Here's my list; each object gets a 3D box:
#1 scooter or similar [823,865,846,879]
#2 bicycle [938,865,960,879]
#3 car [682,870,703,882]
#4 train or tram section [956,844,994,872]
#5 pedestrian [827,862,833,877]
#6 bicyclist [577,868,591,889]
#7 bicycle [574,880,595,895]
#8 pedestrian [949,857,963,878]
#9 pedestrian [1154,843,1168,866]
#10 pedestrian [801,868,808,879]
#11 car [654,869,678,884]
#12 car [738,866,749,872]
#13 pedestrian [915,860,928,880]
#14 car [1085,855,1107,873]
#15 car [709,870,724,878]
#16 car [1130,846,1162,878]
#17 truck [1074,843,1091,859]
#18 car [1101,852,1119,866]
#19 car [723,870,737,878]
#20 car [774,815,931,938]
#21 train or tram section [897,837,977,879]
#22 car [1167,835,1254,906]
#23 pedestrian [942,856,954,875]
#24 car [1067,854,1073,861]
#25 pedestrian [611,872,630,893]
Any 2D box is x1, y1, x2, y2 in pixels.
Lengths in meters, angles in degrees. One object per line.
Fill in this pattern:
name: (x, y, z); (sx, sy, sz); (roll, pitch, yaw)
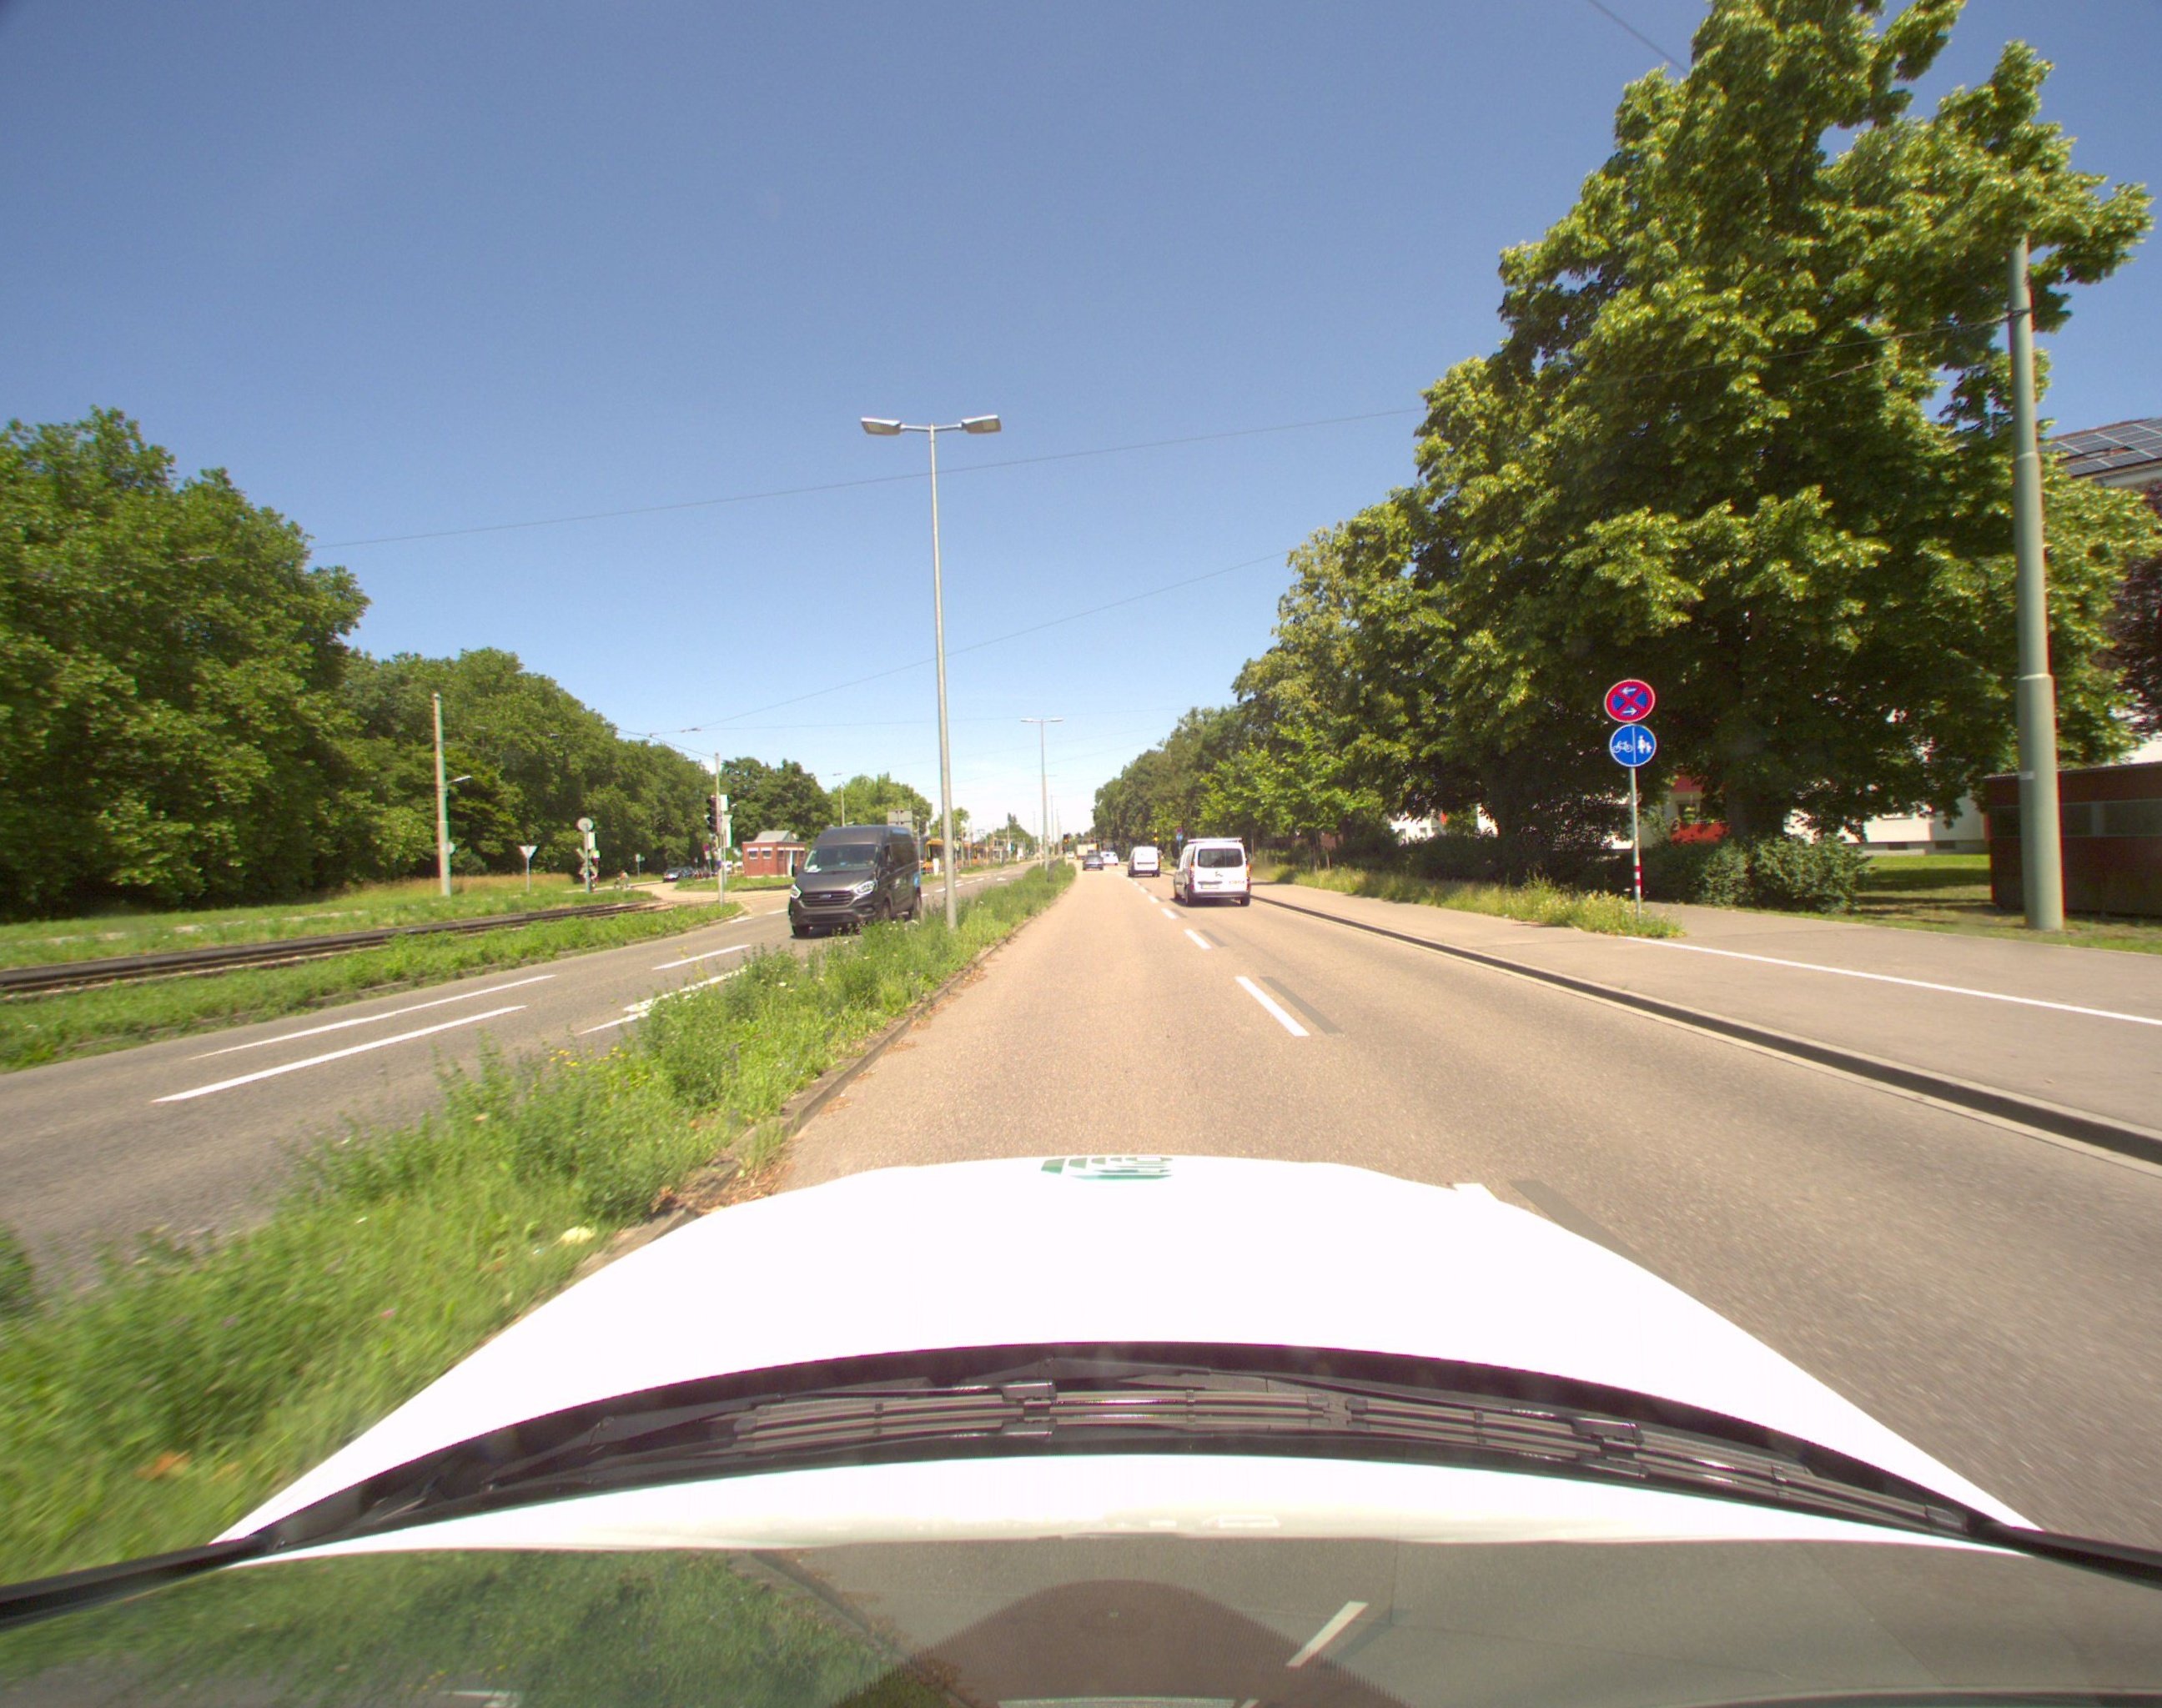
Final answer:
scooter or similar: (-20.397, 1.512, 67.372); (0.605, 1.127, 1.684); (-2, -1, 43)
bicycle: (-11.288, 1.529, 69.565); (1.855, 1.157, 0.243); (-2, -1, 3)
car: (-53.489, 3.034, 112.130); (1.999, 1.467, 3.975); (-1, 0, -18)
train or tram section: (-15.607, 0.650, 122.161); (2.780, 3.668, 25.984); (-2, 0, -1)
pedestrian: (-25.748, 1.589, 83.422); (0.460, 1.436, 0.524); (-2, -1, -3)
bicyclist: (-31.682, 1.556, 51.891); (0.507, 1.336, 0.679); (-2, -1, -7)
bicycle: (-31.666, 2.153, 51.996); (0.507, 0.901, 1.562); (-2, 0, -6)
pedestrian: (-10.940, 1.213, 71.492); (0.949, 1.797, 0.709); (-2, -1, 28)
pedestrian: (6.593, 0.041, 67.387); (1.040, 1.850, 0.759); (-1, -1, 10)
pedestrian: (-27.045, 1.888, 79.684); (0.480, 1.018, 0.522); (-2, 0, 1)
car: (-46.162, 2.481, 90.656); (2.001, 1.467, 3.971); (-1, 0, -21)
car: (-87.173, 3.845, 210.471); (1.997, 1.467, 3.979); (-2, 0, -15)
pedestrian: (-12.686, 1.265, 64.807); (0.858, 1.541, 0.541); (-2, -1, 44)
car: (1.234, 0.844, 70.036); (1.796, 1.486, 3.999); (-2, 0, 0)
car: (-65.646, 3.573, 146.748); (1.999, 1.467, 3.975); (-1, 0, -18)
car: (3.876, 0.430, 48.941); (1.721, 1.814, 4.002); (-1, 0, 2)
truck: (0.336, -0.750, 206.569); (3.888, 3.813, 10.786); (-2, 0, -1)
car: (3.338, 0.536, 94.451); (1.798, 1.540, 3.997); (-2, 0, -2)
car: (-71.756, 4.084, 166.381); (1.997, 1.467, 3.979); (-2, 0, -15)
car: (-5.079, 0.457, 19.003); (1.987, 2.366, 5.372); (-3, 0, 0)
train or tram section: (-15.043, 0.461, 90.410); (2.780, 3.668, 37.497); (-2, 0, -1)
car: (3.715, 0.446, 24.027); (1.818, 1.882, 4.454); (-1, 0, 0)
pedestrian: (-11.360, 0.976, 69.677); (0.815, 1.628, 0.706); (-2, -1, 4)
car: (-2.960, 1.043, 222.957); (1.683, 1.897, 3.868); (-2, 0, -1)
pedestrian: (-38.639, 2.425, 68.325); (0.511, 1.701, 1.278); (-2, -1, 44)
